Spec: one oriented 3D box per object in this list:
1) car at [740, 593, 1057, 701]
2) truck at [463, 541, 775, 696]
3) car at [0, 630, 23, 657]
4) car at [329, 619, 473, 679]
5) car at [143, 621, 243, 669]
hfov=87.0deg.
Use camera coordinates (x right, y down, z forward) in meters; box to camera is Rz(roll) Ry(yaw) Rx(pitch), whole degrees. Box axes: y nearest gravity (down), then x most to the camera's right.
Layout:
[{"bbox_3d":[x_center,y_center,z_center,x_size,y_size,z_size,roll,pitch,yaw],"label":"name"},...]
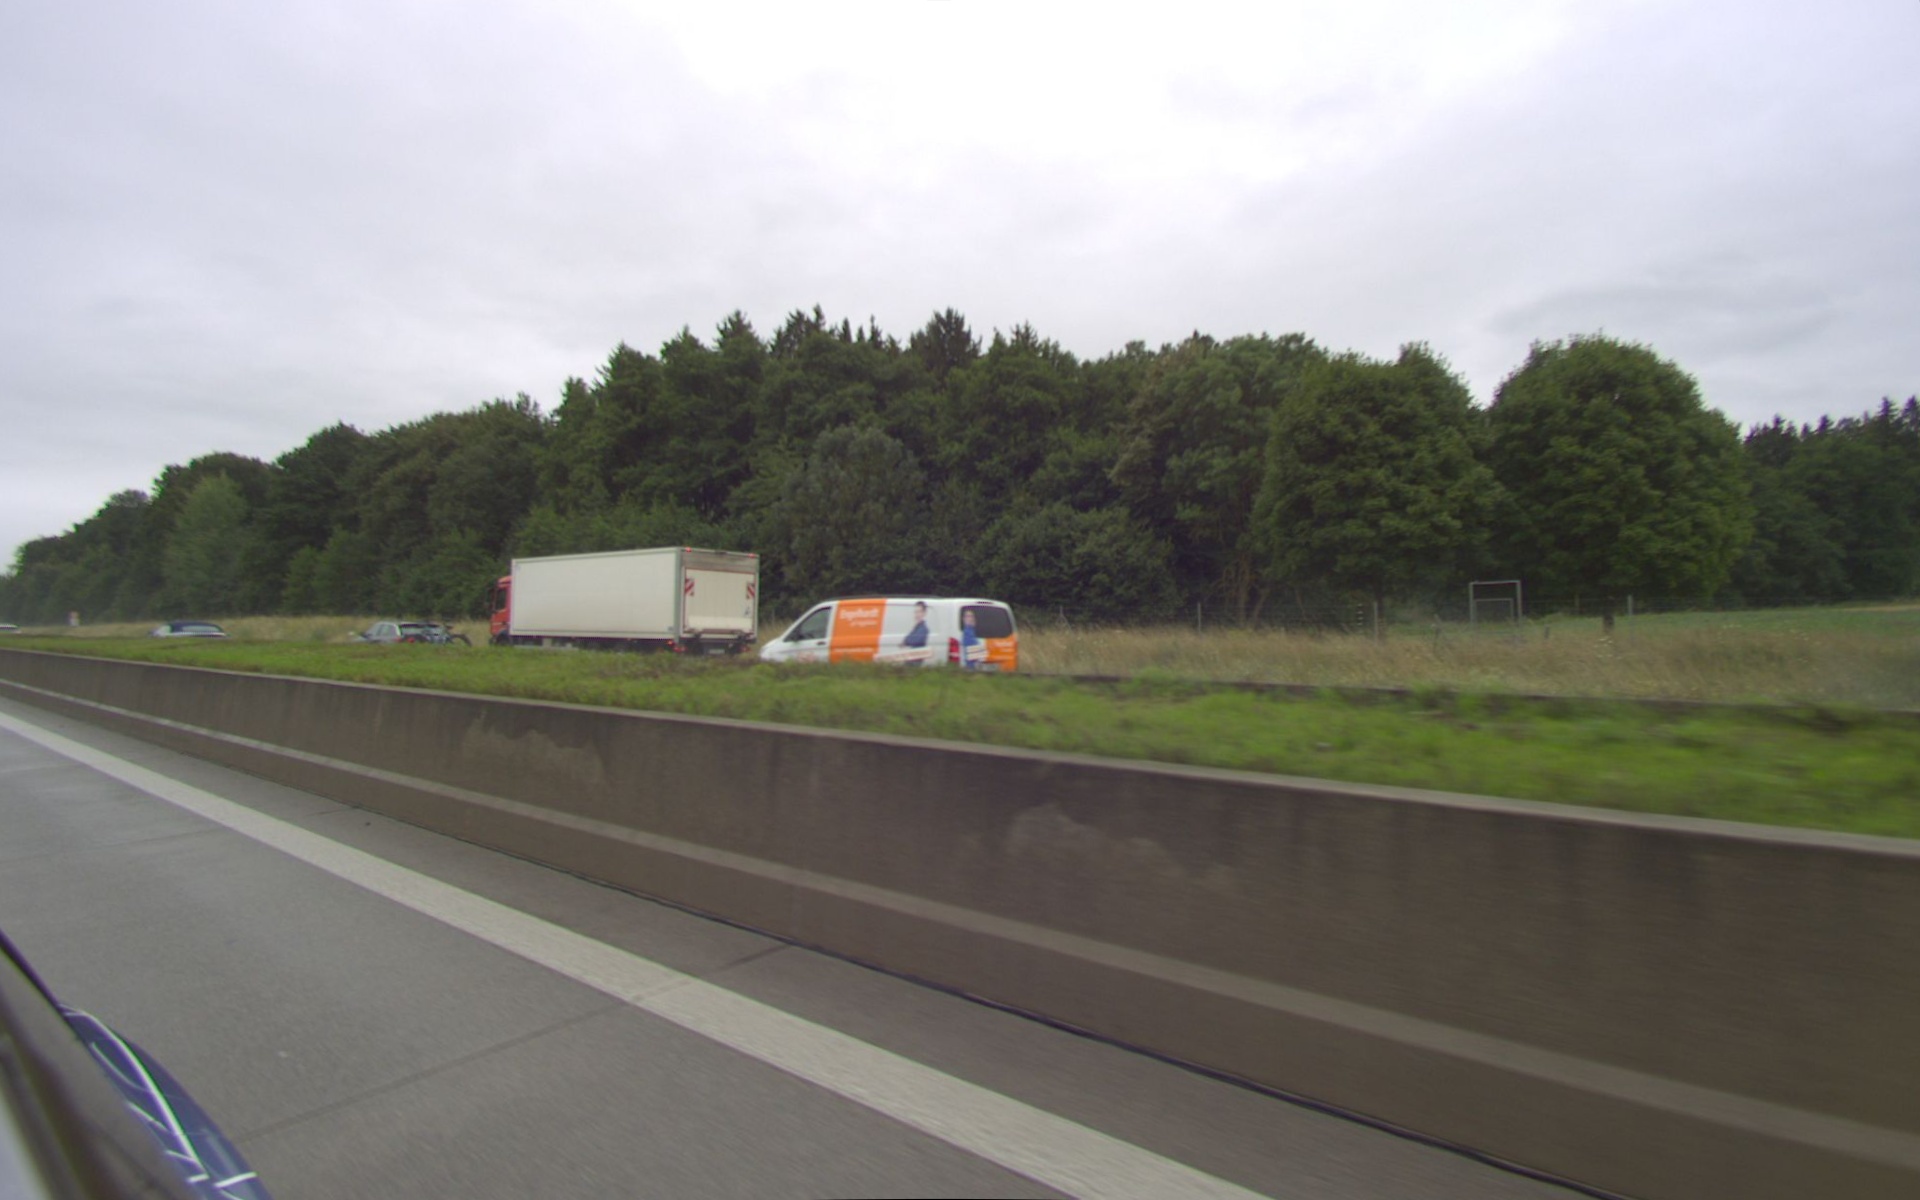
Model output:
[{"bbox_3d":[-1.275,0.839,18.074,5.846,1.644,2.088,-3,-3,40],"label":"car"},{"bbox_3d":[-10.719,0.705,30.469,12.440,3.885,2.873,-3,-3,40],"label":"truck"},{"bbox_3d":[-57.518,2.559,60.489,4.451,1.553,1.635,-1,-2,40],"label":"car"},{"bbox_3d":[-16.811,1.412,30.301,5.378,1.644,1.970,-1,-2,40],"label":"car"},{"bbox_3d":[-25.396,1.456,33.463,4.451,1.491,1.710,-2,-1,40],"label":"car"}]
